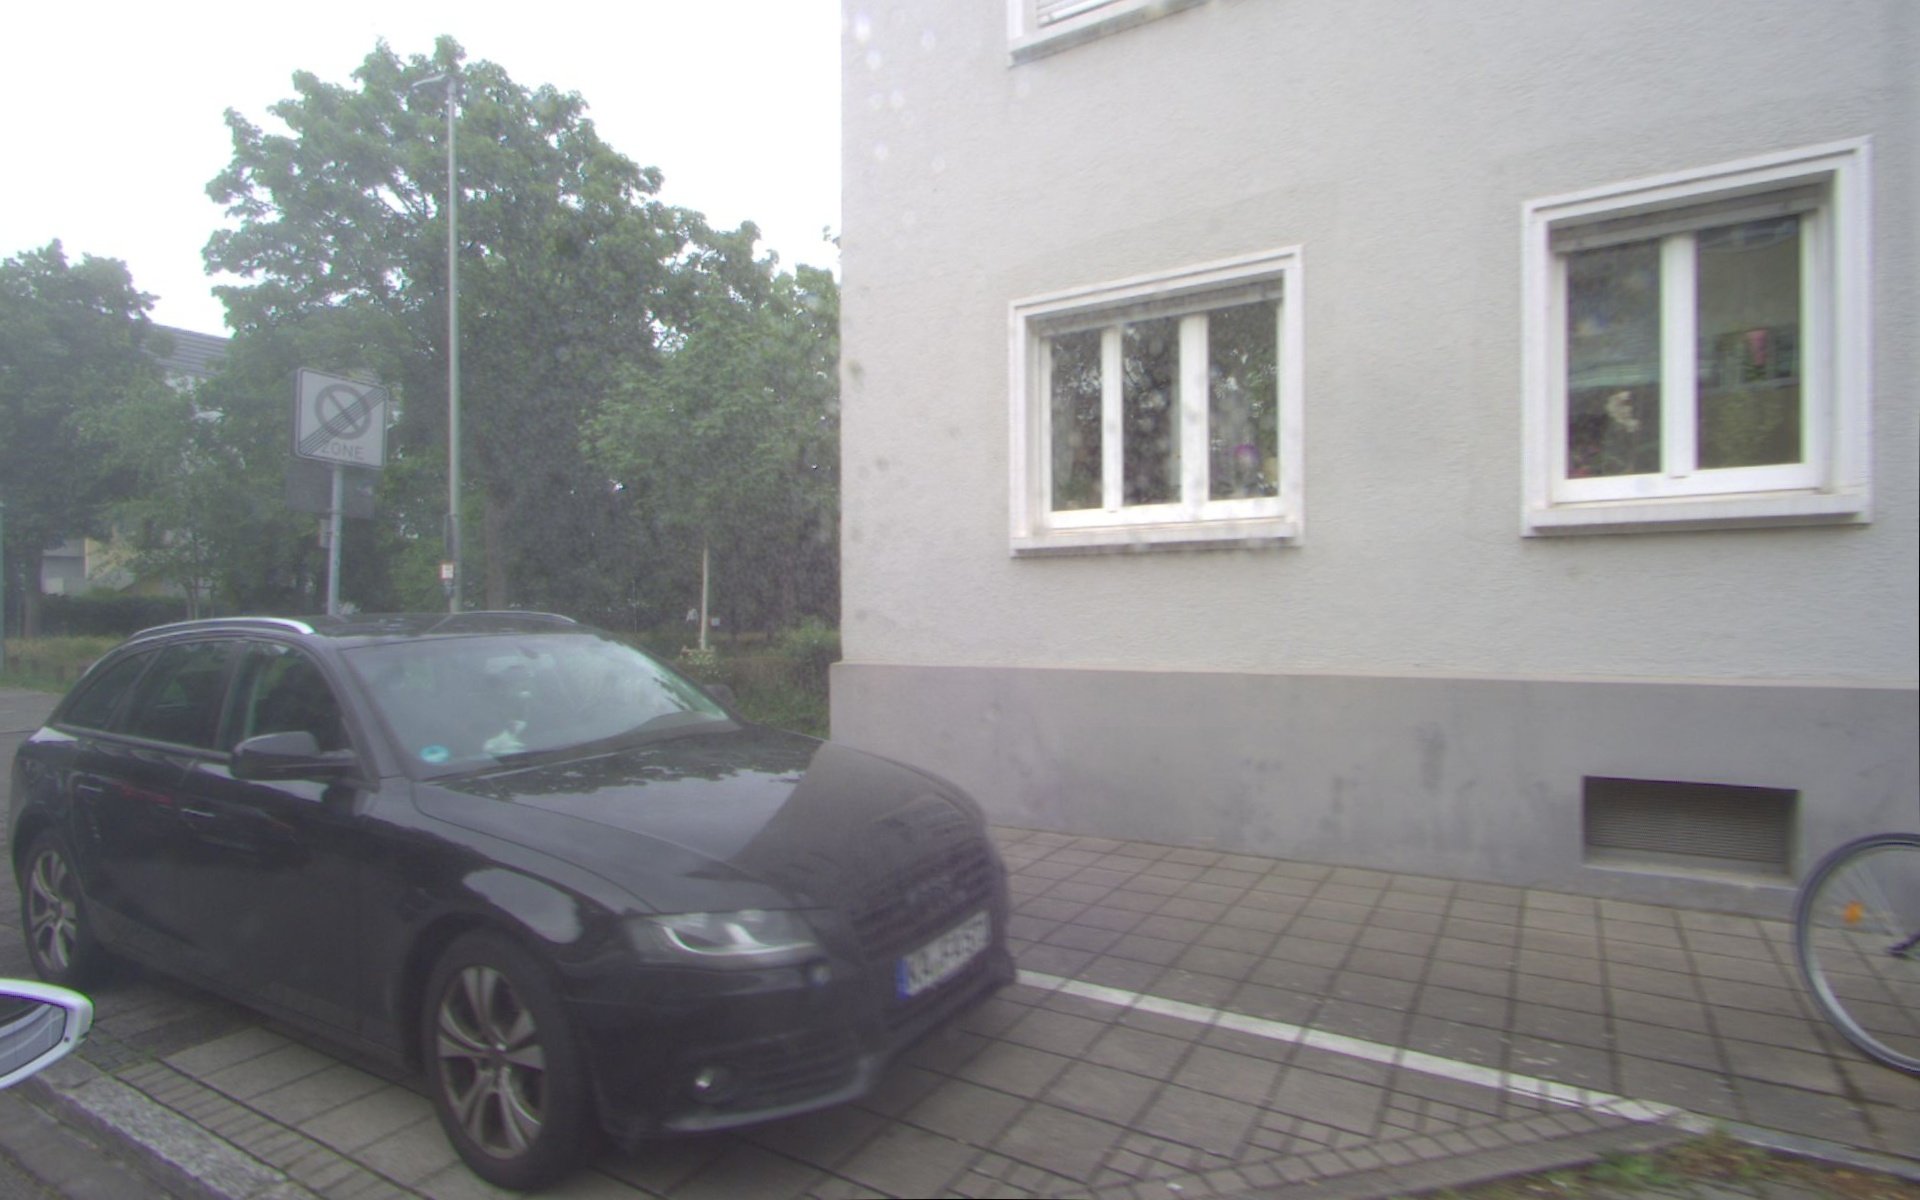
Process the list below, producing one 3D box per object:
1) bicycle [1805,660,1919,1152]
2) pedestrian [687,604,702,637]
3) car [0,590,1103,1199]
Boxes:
[{"bbox_3d":[3.364,0.805,2.452,1.867,1.217,0.747,0,2,32],"label":"bicycle"},{"bbox_3d":[-14.913,1.162,56.245,0.537,1.822,0.568,1,0,42],"label":"pedestrian"},{"bbox_3d":[-1.966,0.743,3.886,4.655,1.482,1.858,-1,0,30],"label":"car"}]
